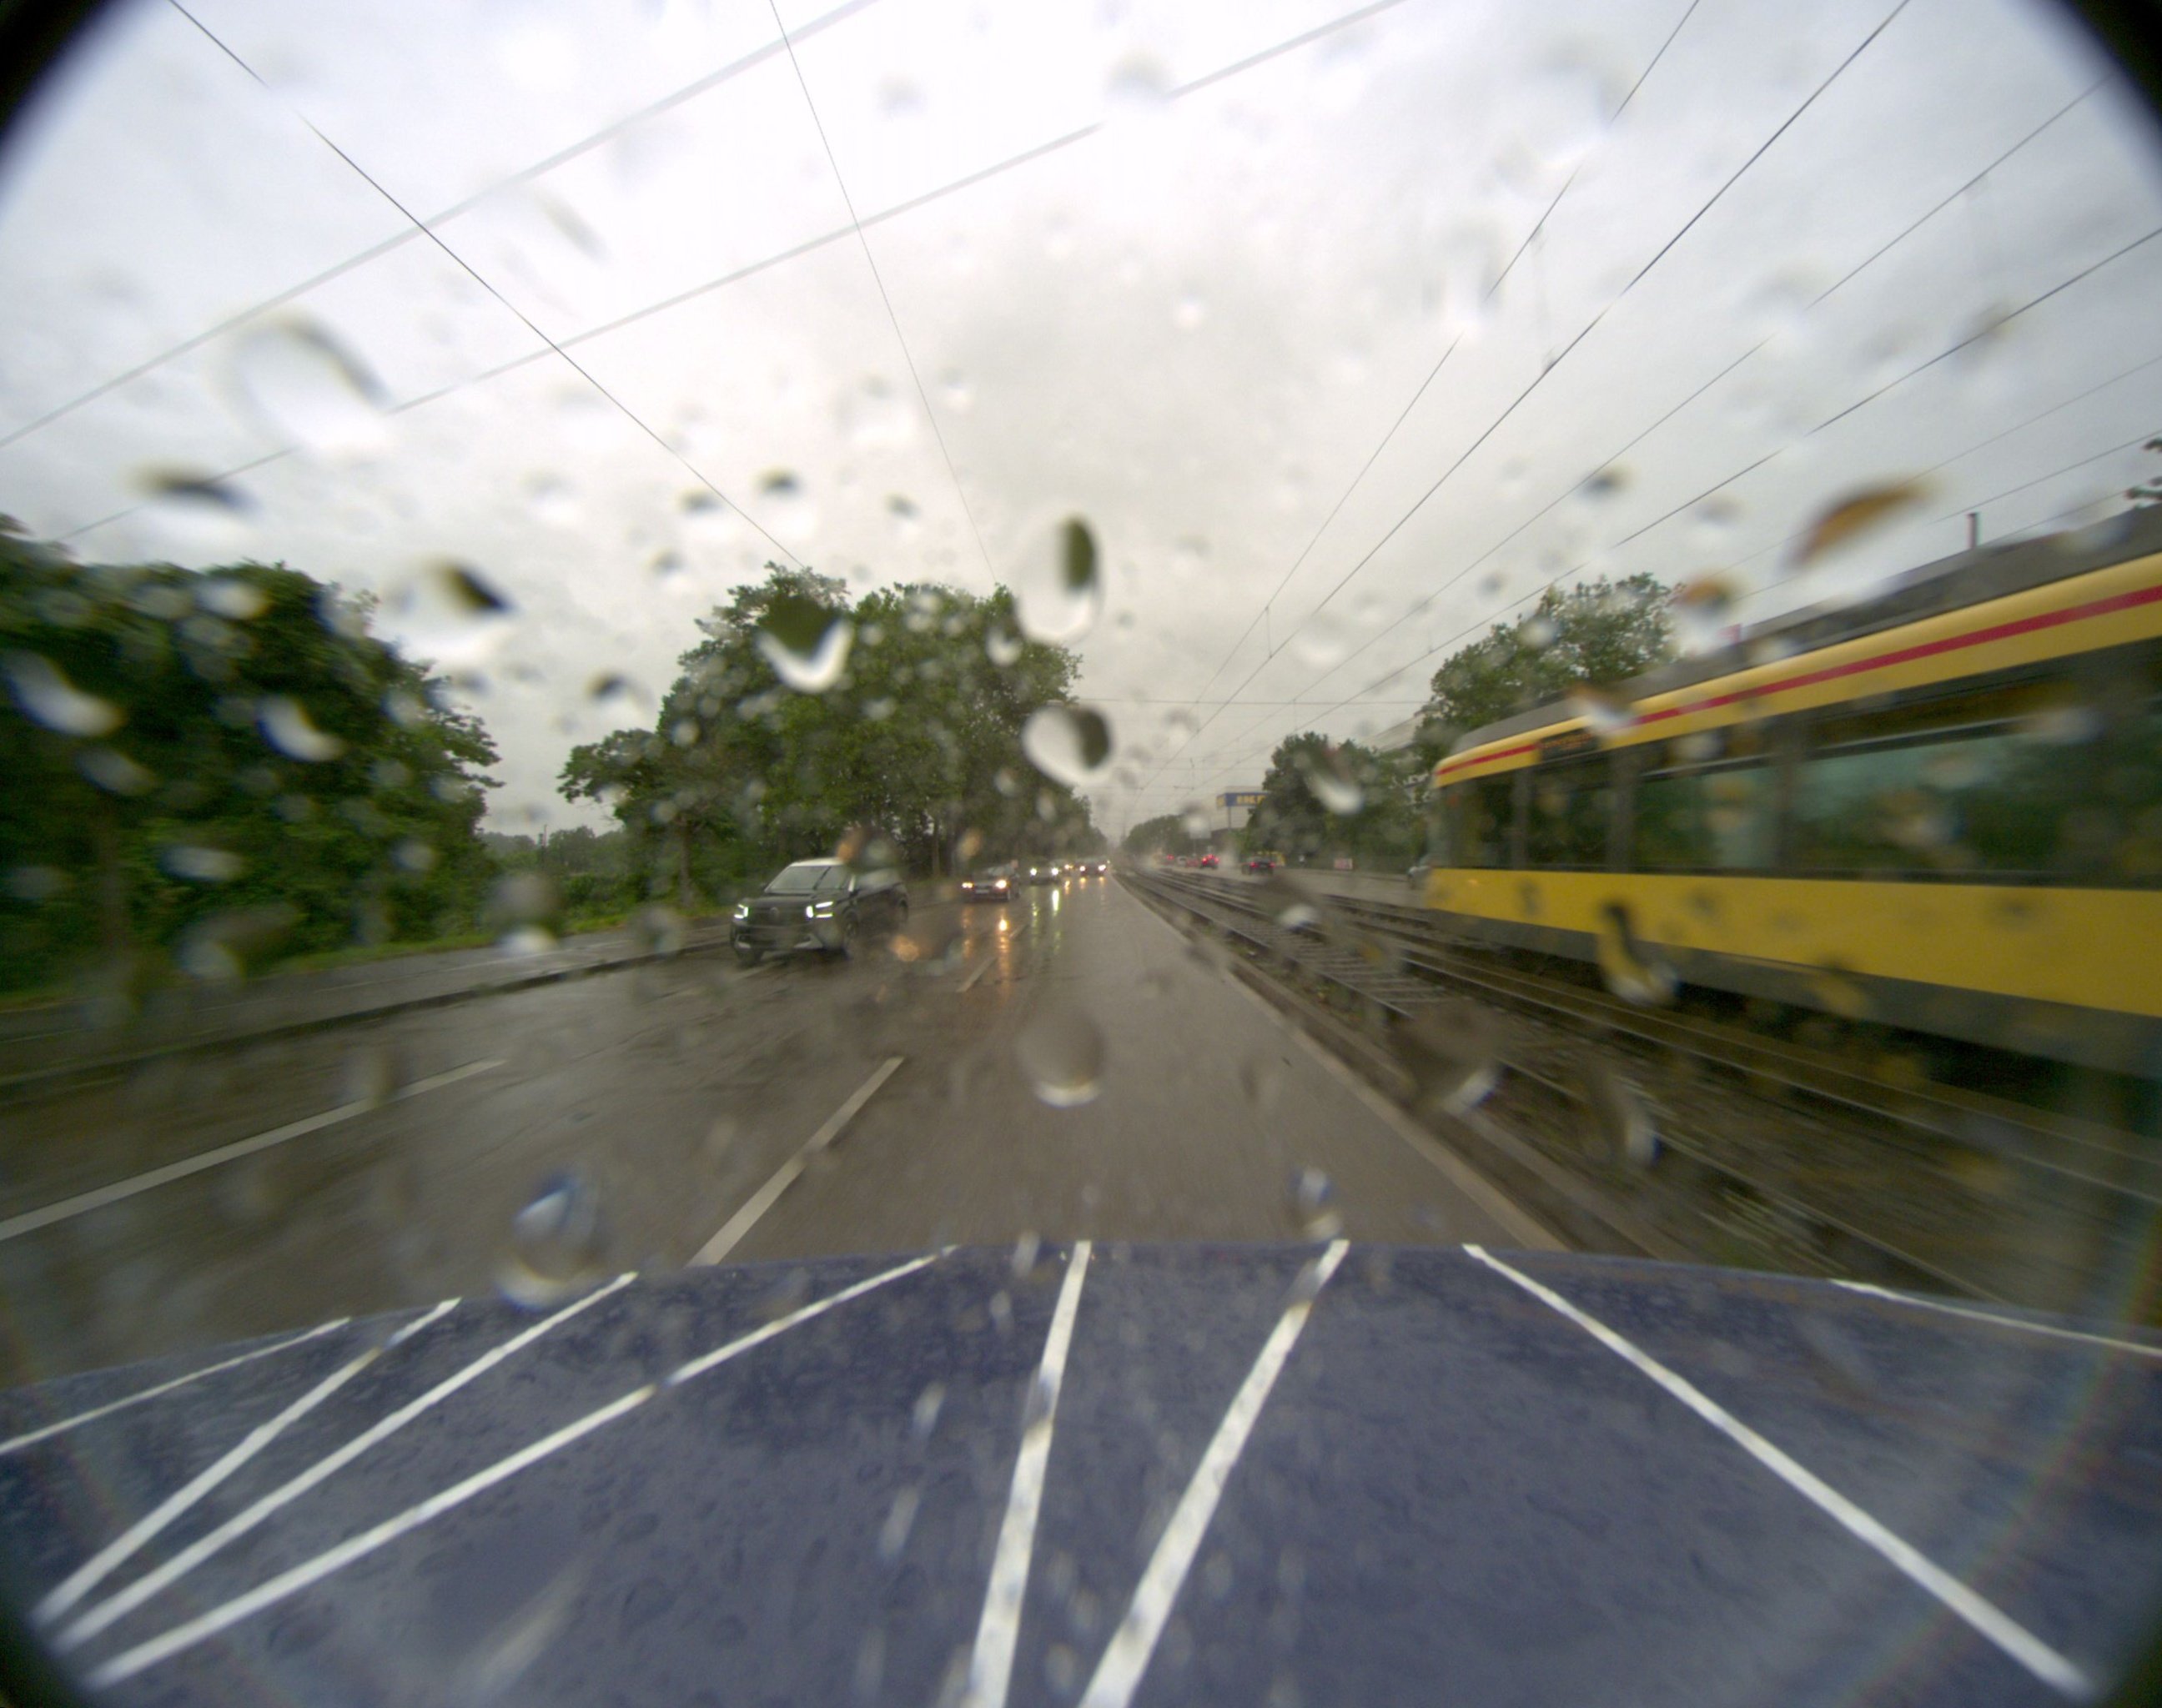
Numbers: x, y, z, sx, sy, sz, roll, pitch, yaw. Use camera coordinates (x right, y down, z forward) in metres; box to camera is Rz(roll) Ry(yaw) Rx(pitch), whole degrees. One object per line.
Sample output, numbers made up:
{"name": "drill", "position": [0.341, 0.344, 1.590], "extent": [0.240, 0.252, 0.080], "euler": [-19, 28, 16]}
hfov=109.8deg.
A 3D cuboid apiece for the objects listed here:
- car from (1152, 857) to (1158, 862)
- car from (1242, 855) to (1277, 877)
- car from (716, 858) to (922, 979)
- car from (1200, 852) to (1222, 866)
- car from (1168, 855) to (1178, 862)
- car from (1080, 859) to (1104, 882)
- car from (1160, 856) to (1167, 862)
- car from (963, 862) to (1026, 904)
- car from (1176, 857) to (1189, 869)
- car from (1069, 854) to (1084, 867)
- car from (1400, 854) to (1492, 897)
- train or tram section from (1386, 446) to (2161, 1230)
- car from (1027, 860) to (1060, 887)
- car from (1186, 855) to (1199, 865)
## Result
{"name": "car", "position": [21.338, 1.645, 218.295], "extent": [1.569, 1.536, 4.002], "euler": [-1, -1, 5]}
{"name": "car", "position": [14.220, 0.971, 60.701], "extent": [1.892, 1.632, 4.398], "euler": [-2, -1, 2]}
{"name": "car", "position": [-4.285, 0.955, 13.355], "extent": [1.797, 1.692, 4.764], "euler": [-2, -1, 2]}
{"name": "car", "position": [15.631, 0.567, 91.748], "extent": [1.942, 1.642, 4.872], "euler": [0, -1, 2]}
{"name": "car", "position": [19.981, 1.022, 164.877], "extent": [1.708, 1.536, 4.001], "euler": [0, -1, 2]}
{"name": "car", "position": [0.878, 1.287, 59.284], "extent": [1.815, 1.692, 4.001], "euler": [-1, -1, 2]}
{"name": "car", "position": [19.852, 1.185, 183.469], "extent": [1.648, 1.536, 4.002], "euler": [0, -1, 4]}
{"name": "car", "position": [-3.178, 1.048, 28.710], "extent": [1.784, 1.419, 4.001], "euler": [-1, -1, 2]}
{"name": "car", "position": [17.415, 1.540, 130.415], "extent": [1.845, 1.898, 4.001], "euler": [0, 0, 2]}
{"name": "car", "position": [-0.577, 0.871, 96.162], "extent": [1.846, 1.572, 3.838], "euler": [-2, -1, 0]}
{"name": "car", "position": [15.376, 0.884, 32.256], "extent": [1.892, 1.632, 4.348], "euler": [-2, -1, 2]}
{"name": "train or tram section", "position": [6.513, -0.101, 3.623], "extent": [2.872, 3.683, 17.891], "euler": [-2, -1, 0]}
{"name": "car", "position": [-2.218, 1.166, 45.941], "extent": [1.807, 1.521, 3.645], "euler": [-2, -1, 0]}
{"name": "car", "position": [16.548, 0.840, 112.671], "extent": [1.707, 1.445, 4.002], "euler": [0, -1, 5]}
